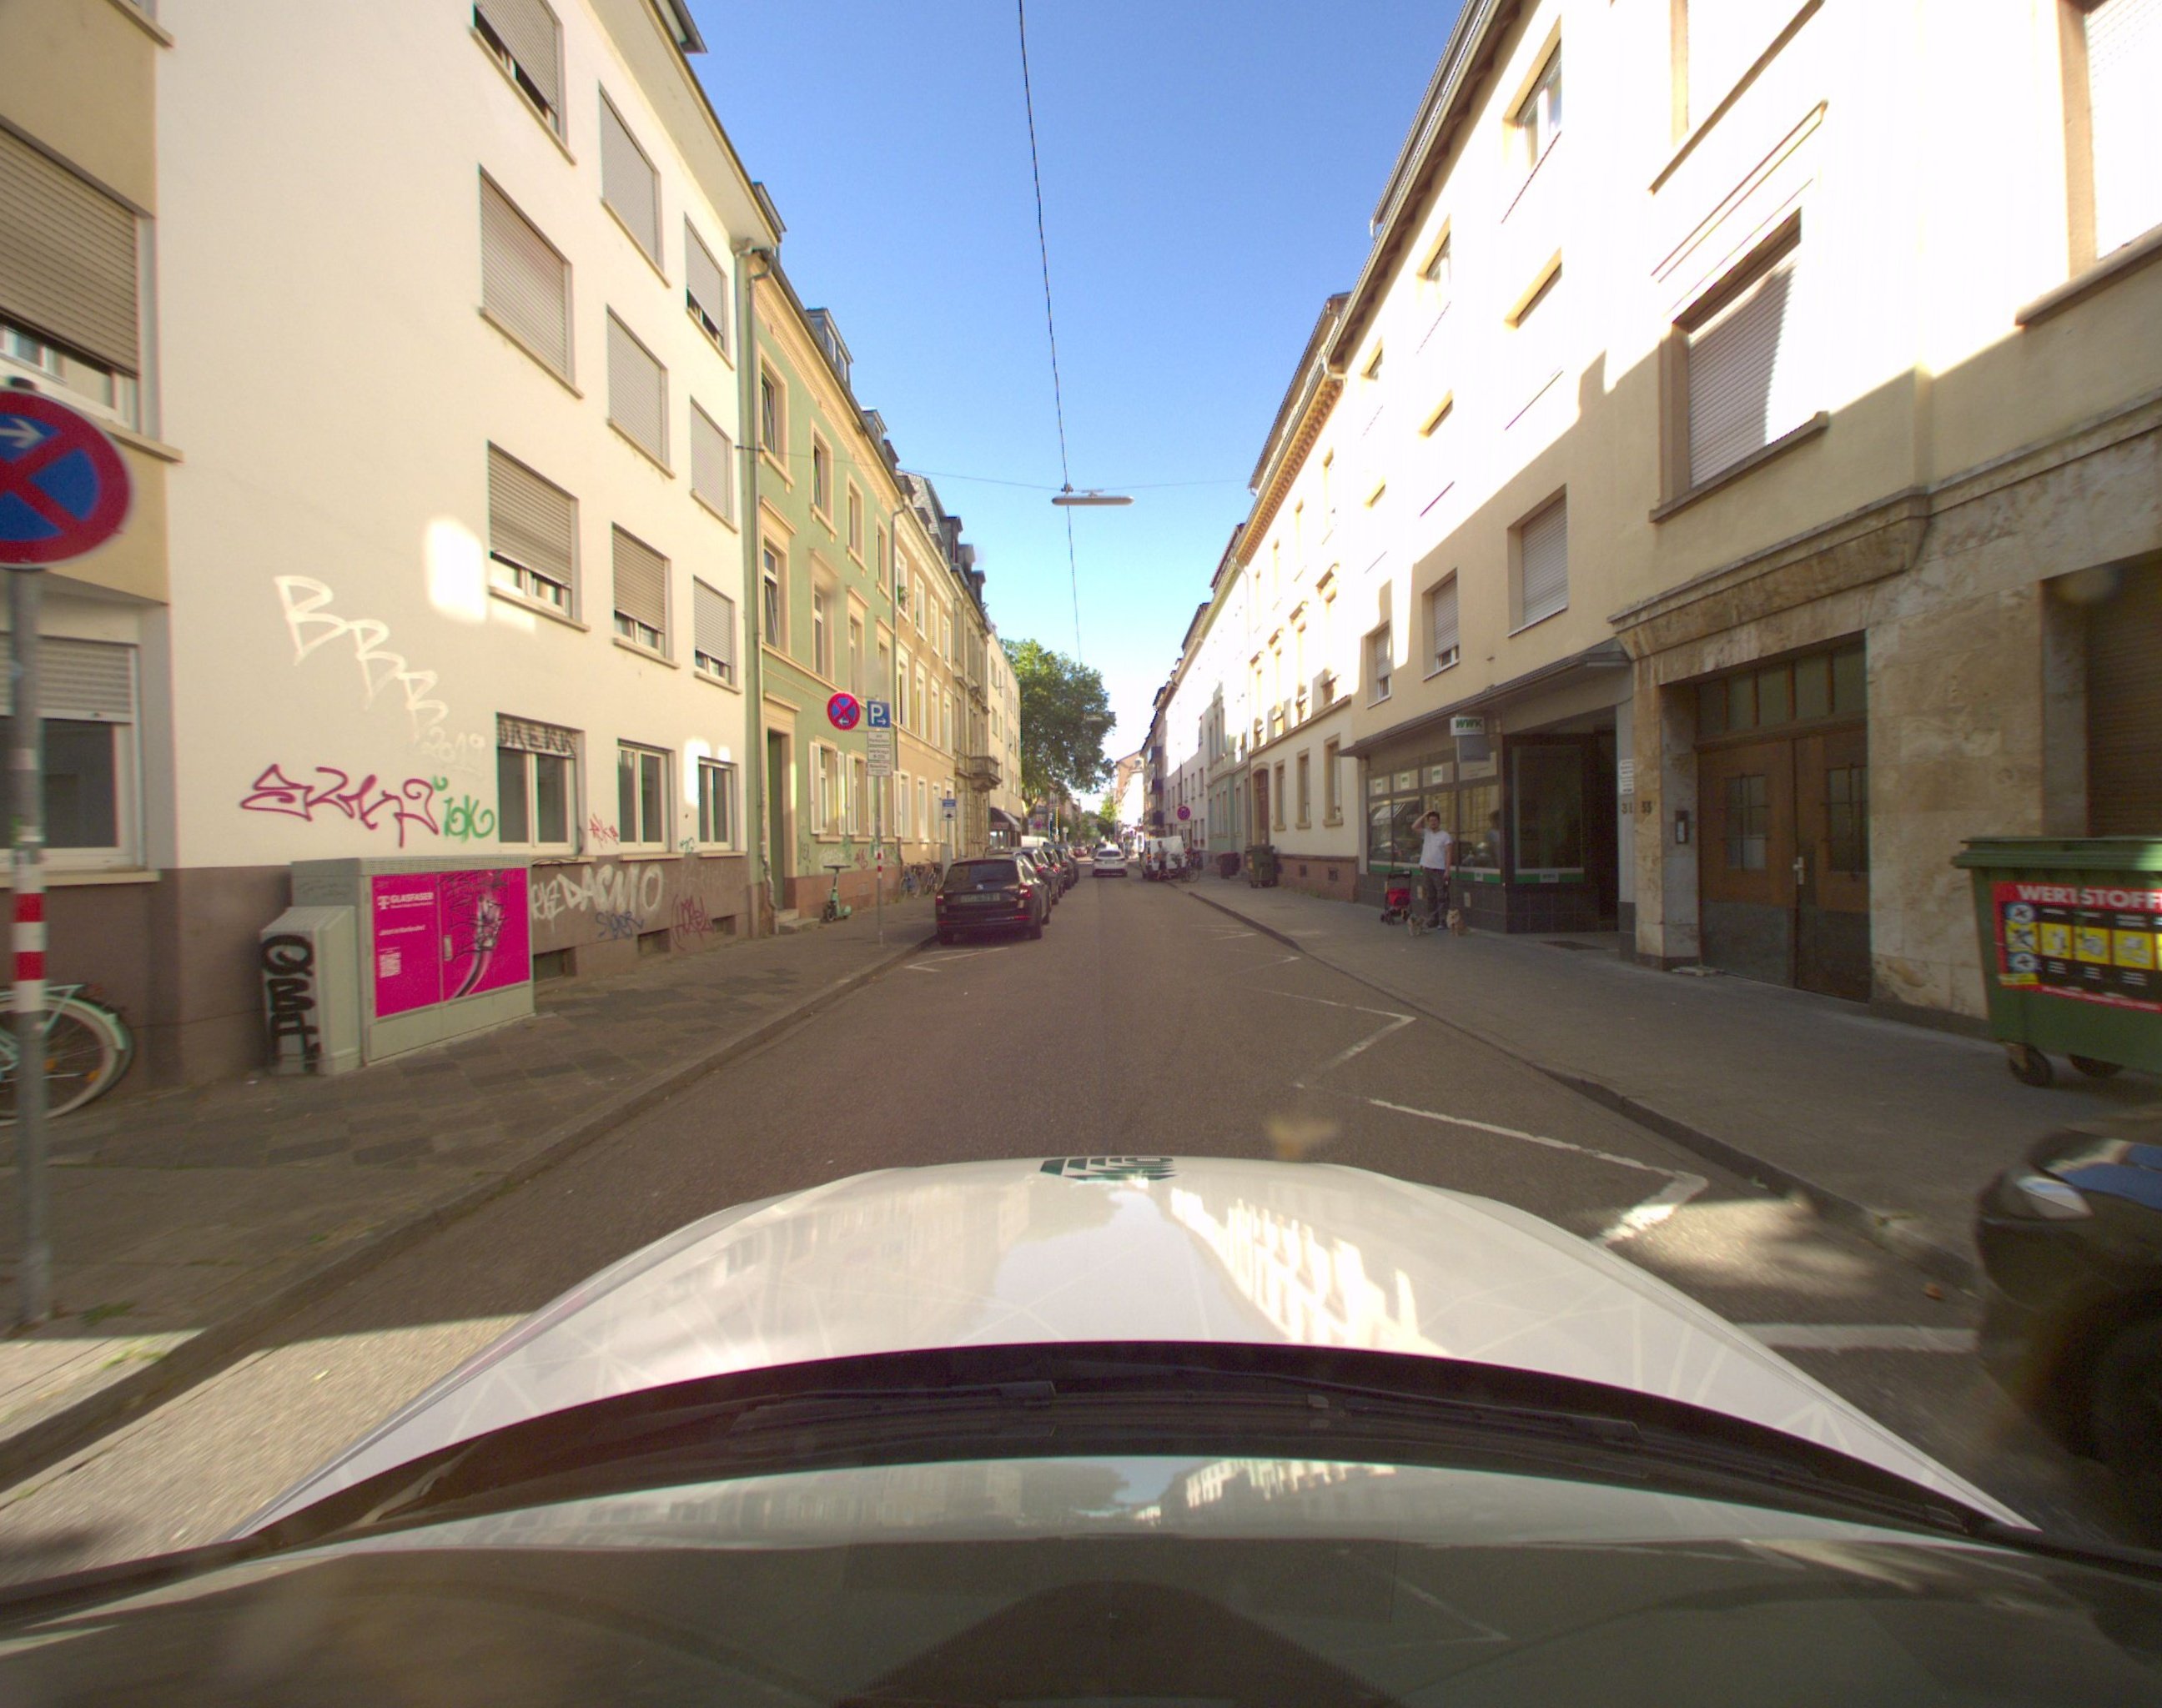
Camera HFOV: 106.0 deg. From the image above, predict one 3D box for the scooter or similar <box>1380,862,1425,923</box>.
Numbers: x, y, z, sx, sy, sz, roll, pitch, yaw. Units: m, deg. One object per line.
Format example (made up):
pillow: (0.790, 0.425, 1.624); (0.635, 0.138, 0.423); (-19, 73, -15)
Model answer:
scooter or similar: (5.415, 0.631, 13.767); (0.488, 0.944, 0.870); (-2, 1, 8)

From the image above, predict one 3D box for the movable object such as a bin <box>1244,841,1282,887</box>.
movable object such as a bin: (5.784, 0.320, 25.951); (0.834, 1.389, 1.297); (-4, -1, 0)

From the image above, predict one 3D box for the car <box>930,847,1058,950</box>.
car: (-1.425, 0.671, 15.131); (1.708, 1.488, 4.852); (-4, 1, 0)

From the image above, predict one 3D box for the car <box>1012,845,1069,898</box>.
car: (-1.270, 0.504, 26.787); (1.610, 1.553, 3.978); (-1, 1, 0)

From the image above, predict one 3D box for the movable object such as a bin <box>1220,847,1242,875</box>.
movable object such as a bin: (5.985, 0.261, 32.548); (0.793, 1.096, 0.642); (-1, 0, 3)

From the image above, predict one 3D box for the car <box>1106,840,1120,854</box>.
car: (4.748, -1.053, 121.084); (1.937, 1.947, 4.076); (0, 1, -1)

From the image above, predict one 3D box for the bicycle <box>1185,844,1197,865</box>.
bicycle: (6.283, 0.039, 46.474); (0.566, 1.153, 1.871); (-1, 0, 6)

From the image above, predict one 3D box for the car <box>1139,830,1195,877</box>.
car: (3.949, -0.068, 38.353); (1.976, 1.883, 5.601); (-5, 1, 1)

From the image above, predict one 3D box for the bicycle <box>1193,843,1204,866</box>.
bicycle: (6.364, 0.030, 44.047); (0.403, 1.206, 2.162); (-1, 0, 4)

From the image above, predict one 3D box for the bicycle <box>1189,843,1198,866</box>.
bicycle: (6.272, 0.031, 45.384); (0.435, 1.206, 2.271); (-1, 0, 8)

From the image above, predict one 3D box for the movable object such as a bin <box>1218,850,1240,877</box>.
movable object such as a bin: (6.026, 0.392, 33.219); (0.809, 1.088, 0.674); (-1, 0, 3)

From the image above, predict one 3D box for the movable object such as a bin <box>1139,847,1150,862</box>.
movable object such as a bin: (4.568, 0.016, 58.302); (0.729, 1.081, 0.704); (-1, 0, 2)

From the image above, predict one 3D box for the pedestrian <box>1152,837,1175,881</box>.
pedestrian: (3.517, 0.222, 34.754); (0.863, 1.836, 0.883); (-1, 0, -1)

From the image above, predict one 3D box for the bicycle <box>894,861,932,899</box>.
bicycle: (-4.885, 0.743, 23.826); (0.359, 1.028, 1.923); (-1, 0, 11)

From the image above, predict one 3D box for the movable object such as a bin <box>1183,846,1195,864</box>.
movable object such as a bin: (6.400, 0.059, 48.350); (0.614, 1.062, 0.603); (-3, 1, 1)

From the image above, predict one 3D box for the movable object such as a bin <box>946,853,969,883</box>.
movable object such as a bin: (-4.620, 0.514, 30.504); (0.733, 1.089, 0.682); (-1, 2, -3)

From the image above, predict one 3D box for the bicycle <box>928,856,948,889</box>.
bicycle: (-4.758, 0.598, 27.176); (0.401, 1.056, 1.835); (-1, 0, -2)

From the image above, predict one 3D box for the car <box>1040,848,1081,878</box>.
car: (-1.011, 0.433, 42.871); (1.839, 1.417, 4.819); (-3, 0, 1)

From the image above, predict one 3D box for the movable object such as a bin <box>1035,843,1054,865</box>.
movable object such as a bin: (-2.593, -0.004, 58.513); (1.292, 1.498, 1.179); (-1, 0, 1)

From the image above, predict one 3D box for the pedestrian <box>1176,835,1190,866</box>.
pedestrian: (5.706, -0.183, 45.443); (0.650, 1.711, 0.688); (-1, 0, 13)

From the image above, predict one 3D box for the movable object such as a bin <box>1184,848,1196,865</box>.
movable object such as a bin: (6.414, 0.135, 47.741); (0.575, 0.924, 0.608); (-4, 0, 1)

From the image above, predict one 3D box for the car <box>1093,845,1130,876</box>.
car: (1.561, 0.301, 42.893); (1.817, 1.514, 3.824); (-1, 1, 0)

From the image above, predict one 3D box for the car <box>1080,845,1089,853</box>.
car: (0.698, -0.920, 150.132); (1.567, 1.585, 3.612); (-1, 0, 2)

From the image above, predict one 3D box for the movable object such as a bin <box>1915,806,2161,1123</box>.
movable object such as a bin: (5.336, 0.493, 4.141); (0.743, 1.436, 1.373); (-4, 0, 3)

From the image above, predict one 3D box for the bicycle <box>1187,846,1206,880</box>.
bicycle: (4.627, 0.336, 32.708); (0.572, 1.271, 2.202); (-3, 1, 5)

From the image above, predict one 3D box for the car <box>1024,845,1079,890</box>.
car: (-1.065, 0.471, 31.553); (1.706, 1.531, 4.370); (-2, 1, 3)

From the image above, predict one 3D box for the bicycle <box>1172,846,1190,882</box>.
bicycle: (3.968, 0.377, 32.393); (0.572, 1.320, 2.202); (-2, 1, 5)

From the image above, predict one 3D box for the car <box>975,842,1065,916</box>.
car: (-1.441, 0.538, 20.992); (1.737, 1.615, 4.605); (-2, 1, 2)

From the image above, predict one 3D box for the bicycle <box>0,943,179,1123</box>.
bicycle: (-6.136, 1.024, 4.463); (0.426, 0.882, 1.579); (1, 2, 40)

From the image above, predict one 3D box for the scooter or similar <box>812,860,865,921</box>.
scooter or similar: (-4.983, 0.728, 16.832); (0.452, 1.181, 1.693); (-1, 0, 4)

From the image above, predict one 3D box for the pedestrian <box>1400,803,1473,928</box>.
pedestrian: (5.577, 0.166, 12.797); (0.650, 1.859, 0.743); (-4, 1, -21)

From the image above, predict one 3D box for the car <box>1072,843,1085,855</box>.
car: (-0.369, -0.755, 117.915); (1.764, 1.588, 3.726); (-1, 1, 0)

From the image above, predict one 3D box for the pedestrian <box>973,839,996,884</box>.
pedestrian: (-3.706, 0.267, 31.407); (0.762, 1.714, 0.883); (0, 1, 0)

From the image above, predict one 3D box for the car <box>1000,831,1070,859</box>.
car: (-4.542, -0.884, 81.183); (6.712, 2.555, 2.147); (2, 0, 2)

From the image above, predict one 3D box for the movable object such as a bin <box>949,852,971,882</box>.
movable object such as a bin: (-4.625, 0.483, 31.125); (0.717, 1.132, 0.584); (-1, 0, -3)

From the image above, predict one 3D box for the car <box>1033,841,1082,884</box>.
car: (-0.990, 0.328, 37.072); (1.929, 1.736, 5.143); (-2, 1, 1)
